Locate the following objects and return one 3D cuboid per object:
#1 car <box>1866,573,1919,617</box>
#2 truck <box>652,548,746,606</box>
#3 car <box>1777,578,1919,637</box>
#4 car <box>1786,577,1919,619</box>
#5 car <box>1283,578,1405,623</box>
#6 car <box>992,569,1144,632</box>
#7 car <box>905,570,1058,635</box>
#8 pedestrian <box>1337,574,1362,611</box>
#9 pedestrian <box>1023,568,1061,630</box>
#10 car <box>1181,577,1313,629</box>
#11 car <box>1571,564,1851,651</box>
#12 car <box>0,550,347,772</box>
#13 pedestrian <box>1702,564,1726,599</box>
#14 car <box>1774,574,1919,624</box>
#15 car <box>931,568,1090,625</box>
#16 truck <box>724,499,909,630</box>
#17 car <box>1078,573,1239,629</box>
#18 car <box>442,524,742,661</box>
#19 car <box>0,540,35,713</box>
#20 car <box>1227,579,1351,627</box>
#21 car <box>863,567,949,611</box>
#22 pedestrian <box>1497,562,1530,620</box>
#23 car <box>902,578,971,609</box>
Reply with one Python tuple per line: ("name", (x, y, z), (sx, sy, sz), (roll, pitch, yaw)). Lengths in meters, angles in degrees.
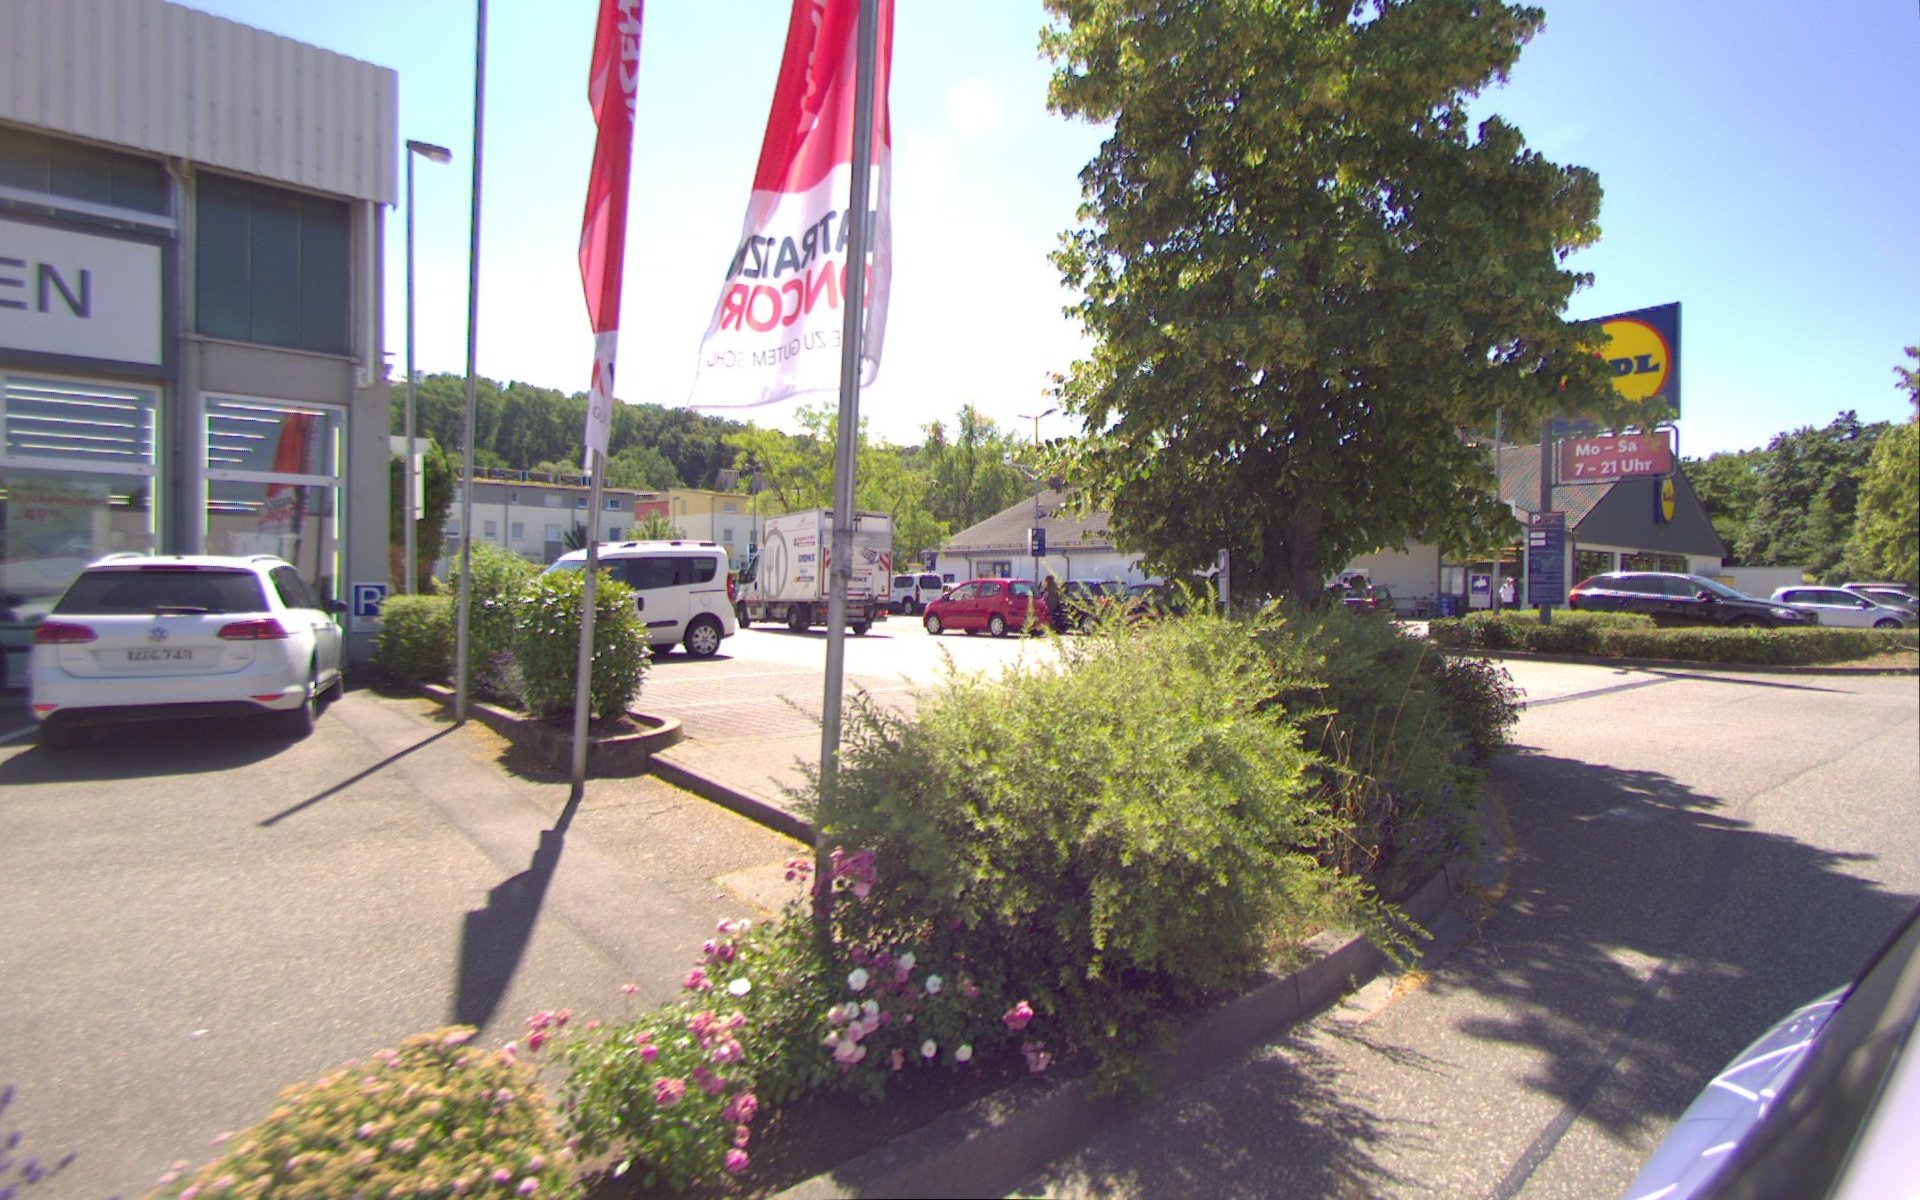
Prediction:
("car", (38.211, -0.171, 38.849), (1.965, 1.697, 4.858), (0, 1, -40))
("truck", (-11.871, -1.047, 45.747), (2.139, 2.488, 5.483), (0, 1, -38))
("car", (26.146, 0.196, 29.490), (1.554, 1.525, 3.404), (1, 2, -41))
("car", (33.135, -0.088, 37.037), (1.920, 1.428, 4.236), (0, 1, -42))
("car", (13.223, -0.004, 35.014), (1.642, 1.434, 3.605), (0, 1, -39))
("car", (2.886, -0.026, 27.770), (1.777, 1.582, 4.027), (-1, 1, -41))
("car", (0.499, 0.016, 26.395), (1.625, 1.551, 3.989), (0, 1, -45))
("pedestrian", (16.620, -0.330, 43.156), (0.549, 1.571, 0.802), (0, 2, -41))
("pedestrian", (2.164, -0.032, 26.677), (0.694, 1.611, 0.680), (0, 2, -39))
("car", (9.139, 0.053, 32.415), (1.786, 1.523, 3.731), (0, 1, -39))
("car", (16.141, 0.086, 21.996), (1.858, 1.688, 4.530), (1, 1, -35))
("car", (-6.553, 0.324, 8.903), (1.769, 1.478, 4.007), (0, 2, -28))
("pedestrian", (38.678, -0.952, 51.911), (0.685, 1.763, 0.763), (0, 2, -37))
("car", (29.528, -0.052, 33.059), (1.778, 1.499, 4.317), (0, 2, -42))
("car", (1.596, -0.165, 33.989), (1.966, 1.662, 5.521), (0, 2, -43))
("truck", (-3.900, -0.874, 26.324), (2.376, 2.986, 5.956), (1, 1, -34))
("car", (5.594, -0.026, 28.929), (1.869, 1.408, 4.249), (0, 2, -42))
("car", (-5.750, -0.151, 16.153), (4.186, 1.914, 1.707), (-1, 2, -44))
("car", (-8.878, 0.293, 7.714), (1.643, 1.552, 3.875), (0, 2, -26))
("car", (10.961, 0.063, 33.908), (1.715, 1.476, 3.605), (0, 1, -39))
("car", (-2.462, -0.529, 45.632), (1.746, 1.812, 3.993), (0, 2, -42))
("pedestrian", (19.879, -0.340, 36.345), (0.789, 2.038, 0.784), (0, 2, -41))
("car", (-1.131, -0.327, 47.861), (1.404, 1.338, 3.421), (0, 2, -42))
